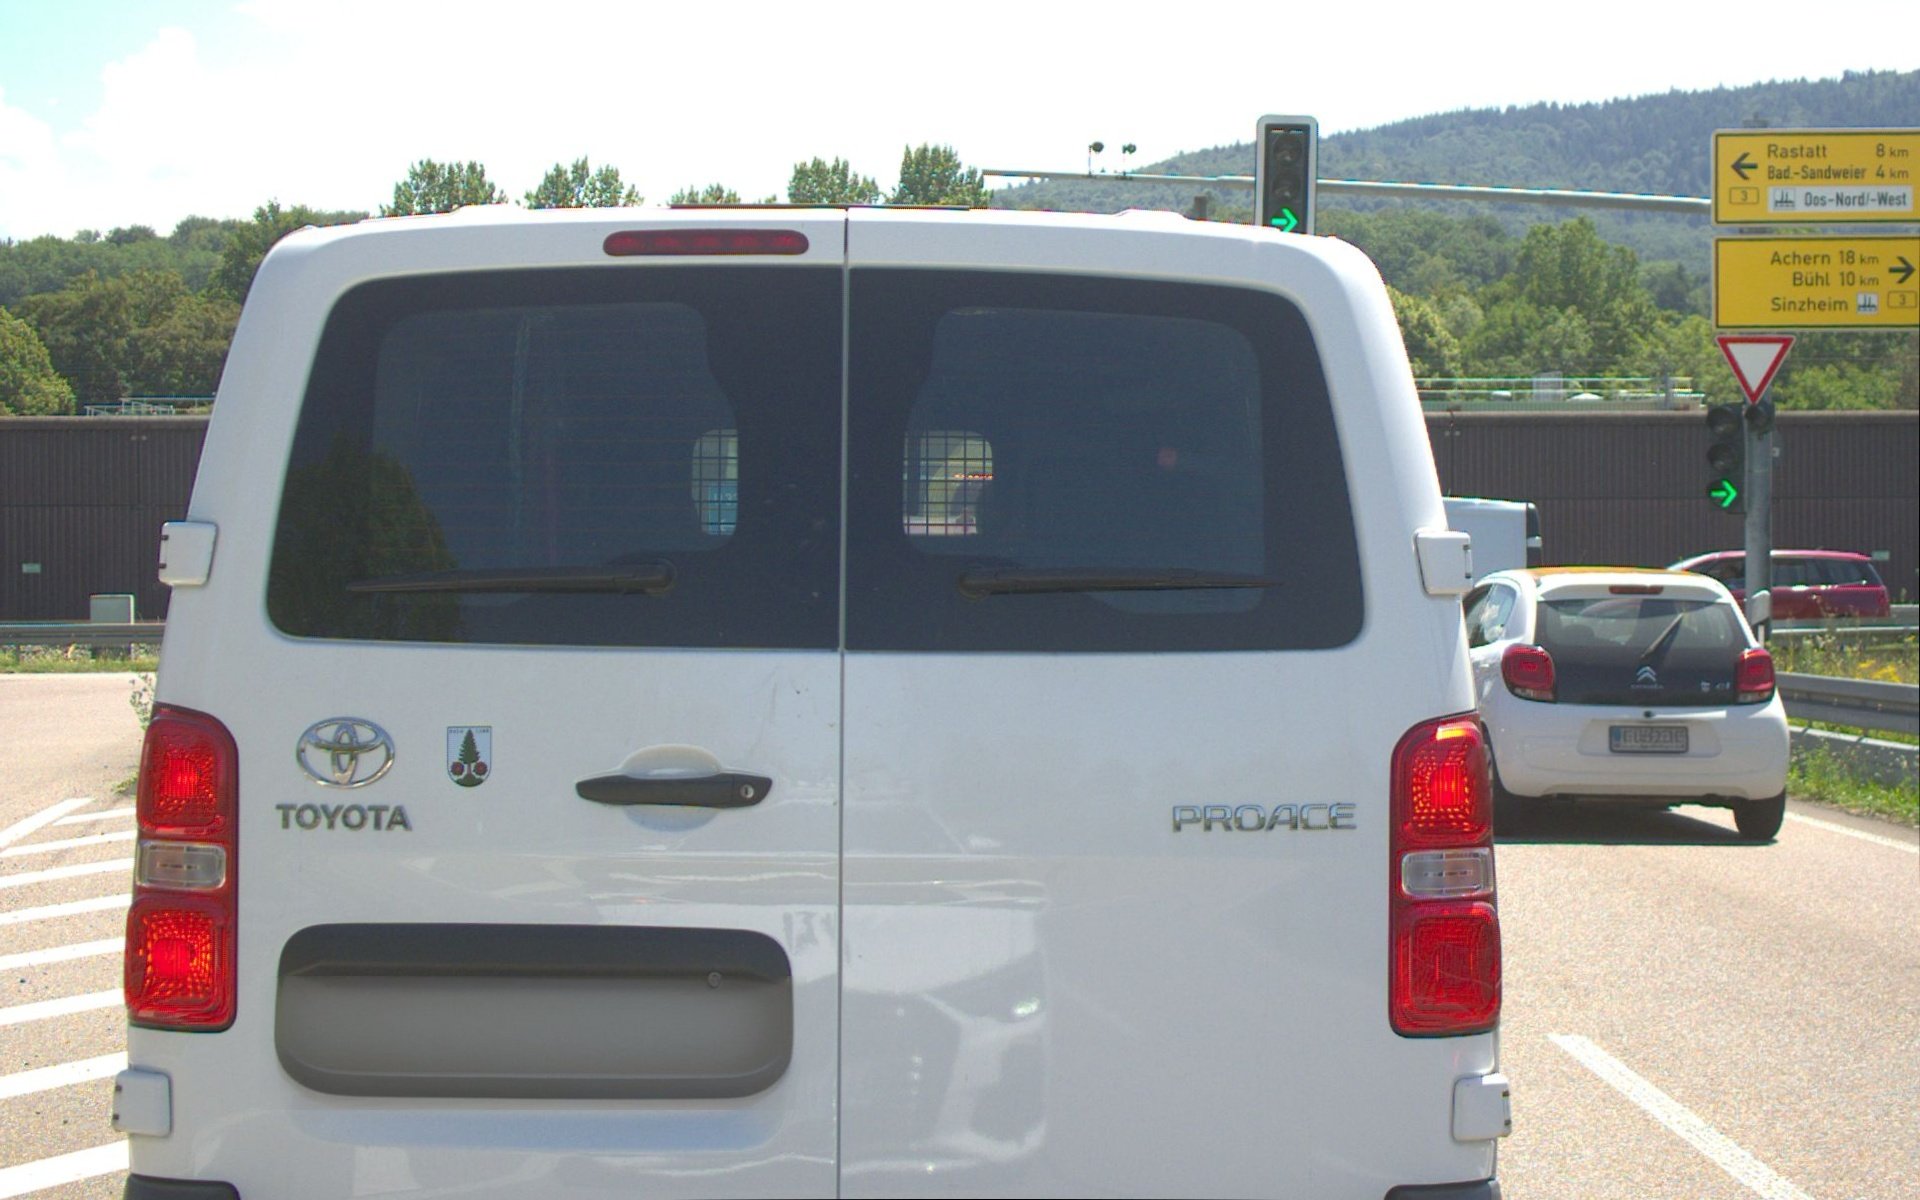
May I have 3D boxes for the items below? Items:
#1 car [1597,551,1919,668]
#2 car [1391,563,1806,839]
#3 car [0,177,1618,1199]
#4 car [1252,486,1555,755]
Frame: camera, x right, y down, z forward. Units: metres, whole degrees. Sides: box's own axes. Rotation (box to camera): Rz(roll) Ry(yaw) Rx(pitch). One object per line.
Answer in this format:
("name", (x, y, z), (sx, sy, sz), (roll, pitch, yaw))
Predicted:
("car", (11.603, 0.130, 49.810), (4.309, 1.651, 2.000), (0, 1, -3))
("car", (3.555, 0.511, 19.677), (1.656, 1.426, 3.366), (1, 1, -1))
("car", (-0.226, 0.439, 6.004), (1.886, 1.880, 4.000), (1, 1, -1))
("car", (3.530, 0.129, 28.217), (1.928, 1.993, 4.837), (1, 1, 1))
